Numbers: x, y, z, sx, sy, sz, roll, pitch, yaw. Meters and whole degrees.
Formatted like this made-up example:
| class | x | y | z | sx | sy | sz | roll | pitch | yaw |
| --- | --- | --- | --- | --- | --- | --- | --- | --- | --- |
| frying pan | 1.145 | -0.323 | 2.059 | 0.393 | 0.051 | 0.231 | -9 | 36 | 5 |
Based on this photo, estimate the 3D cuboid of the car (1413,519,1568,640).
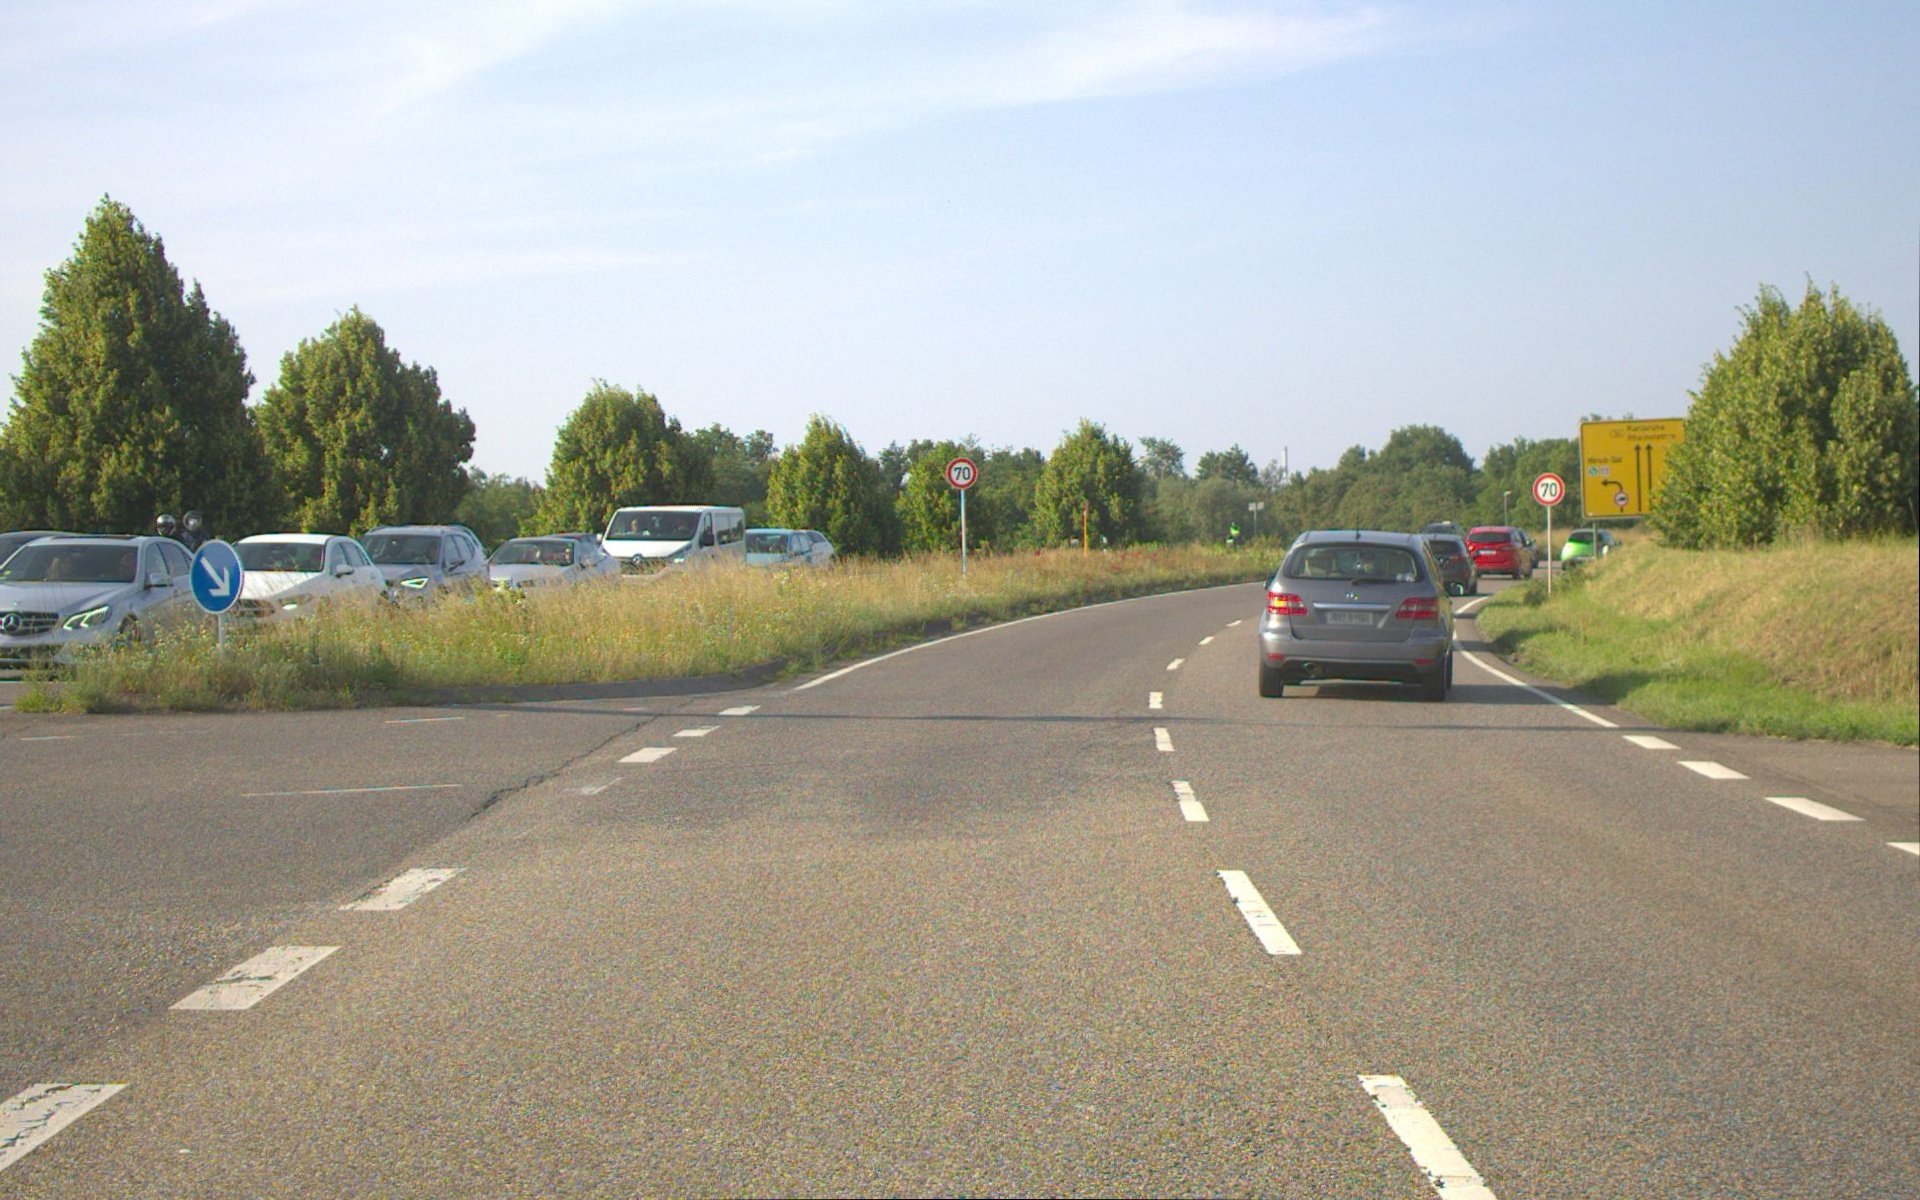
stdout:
| class | x | y | z | sx | sy | sz | roll | pitch | yaw |
| --- | --- | --- | --- | --- | --- | --- | --- | --- | --- |
| car | 7.259 | -0.299 | 46.749 | 1.811 | 1.560 | 4.528 | 0 | 1 | 12 |

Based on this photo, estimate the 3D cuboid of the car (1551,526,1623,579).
| class | x | y | z | sx | sy | sz | roll | pitch | yaw |
| --- | --- | --- | --- | --- | --- | --- | --- | --- | --- |
| car | 22.281 | -1.662 | 122.053 | 1.910 | 1.794 | 4.274 | 0 | 0 | 18 |

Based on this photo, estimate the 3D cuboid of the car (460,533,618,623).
| class | x | y | z | sx | sy | sz | roll | pitch | yaw |
| --- | --- | --- | --- | --- | --- | --- | --- | --- | --- |
| car | -6.765 | -0.377 | 55.613 | 1.786 | 1.381 | 4.051 | -1 | 1 | 4 |

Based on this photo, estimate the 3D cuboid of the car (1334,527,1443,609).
| class | x | y | z | sx | sy | sz | roll | pitch | yaw |
| --- | --- | --- | --- | --- | --- | --- | --- | --- | --- |
| car | 8.035 | -0.620 | 64.261 | 1.773 | 1.487 | 3.983 | 0 | 1 | 11 |

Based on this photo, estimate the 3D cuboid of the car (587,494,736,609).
| class | x | y | z | sx | sy | sz | roll | pitch | yaw |
| --- | --- | --- | --- | --- | --- | --- | --- | --- | --- |
| car | -5.596 | -0.923 | 65.011 | 1.926 | 2.071 | 4.242 | -1 | 1 | 7 |

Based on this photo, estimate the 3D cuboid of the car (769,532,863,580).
| class | x | y | z | sx | sy | sz | roll | pitch | yaw |
| --- | --- | --- | --- | --- | --- | --- | --- | --- | --- |
| car | -4.334 | -1.343 | 104.099 | 1.787 | 1.381 | 4.049 | 0 | 1 | 13 |

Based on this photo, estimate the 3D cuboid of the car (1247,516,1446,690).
| class | x | y | z | sx | sy | sz | roll | pitch | yaw |
| --- | --- | --- | --- | --- | --- | --- | --- | --- | --- |
| car | 3.734 | 0.039 | 33.781 | 1.784 | 1.600 | 4.195 | 0 | 0 | 4 |

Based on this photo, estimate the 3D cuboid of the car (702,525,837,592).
| class | x | y | z | sx | sy | sz | roll | pitch | yaw |
| --- | --- | --- | --- | --- | --- | --- | --- | --- | --- |
| car | -4.021 | -0.896 | 73.188 | 1.787 | 1.381 | 4.049 | 0 | 1 | 13 |

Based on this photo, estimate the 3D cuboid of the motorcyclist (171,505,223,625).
| class | x | y | z | sx | sy | sz | roll | pitch | yaw |
| --- | --- | --- | --- | --- | --- | --- | --- | --- | --- |
| motorcyclist | -11.623 | -0.541 | 52.374 | 0.662 | 1.810 | 0.605 | -1 | 1 | -3 |

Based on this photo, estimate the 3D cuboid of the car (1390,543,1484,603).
| class | x | y | z | sx | sy | sz | roll | pitch | yaw |
| --- | --- | --- | --- | --- | --- | --- | --- | --- | --- |
| car | 11.490 | -0.634 | 82.651 | 1.916 | 1.411 | 3.793 | 0 | 0 | 13 |

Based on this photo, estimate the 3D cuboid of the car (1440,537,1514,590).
| class | x | y | z | sx | sy | sz | roll | pitch | yaw |
| --- | --- | --- | --- | --- | --- | --- | --- | --- | --- |
| car | 15.742 | -1.097 | 104.483 | 1.896 | 1.559 | 4.275 | 0 | 0 | 13 |

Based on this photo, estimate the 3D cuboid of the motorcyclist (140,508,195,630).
| class | x | y | z | sx | sy | sz | roll | pitch | yaw |
| --- | --- | --- | --- | --- | --- | --- | --- | --- | --- |
| motorcyclist | -11.347 | -0.446 | 49.237 | 0.662 | 1.741 | 0.605 | -1 | 1 | -3 |

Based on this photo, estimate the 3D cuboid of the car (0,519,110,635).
| class | x | y | z | sx | sy | sz | roll | pitch | yaw |
| --- | --- | --- | --- | --- | --- | --- | --- | --- | --- |
| car | -12.487 | -0.311 | 44.353 | 1.786 | 1.428 | 4.051 | -1 | 1 | 4 |

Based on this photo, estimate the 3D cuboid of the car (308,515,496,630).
| class | x | y | z | sx | sy | sz | roll | pitch | yaw |
| --- | --- | --- | --- | --- | --- | --- | --- | --- | --- |
| car | -7.978 | -0.413 | 49.509 | 1.786 | 1.563 | 4.051 | -1 | 1 | 4 |

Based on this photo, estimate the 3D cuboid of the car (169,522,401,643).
| class | x | y | z | sx | sy | sz | roll | pitch | yaw |
| --- | --- | --- | --- | --- | --- | --- | --- | --- | --- |
| car | -8.418 | -0.250 | 43.235 | 1.786 | 1.428 | 4.308 | -1 | 1 | 4 |

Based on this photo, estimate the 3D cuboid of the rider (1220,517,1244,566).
| class | x | y | z | sx | sy | sz | roll | pitch | yaw |
| --- | --- | --- | --- | --- | --- | --- | --- | --- | --- |
| rider | 11.304 | -2.429 | 142.849 | 0.868 | 2.007 | 0.771 | 0 | 1 | 15 |

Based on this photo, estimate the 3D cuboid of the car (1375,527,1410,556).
| class | x | y | z | sx | sy | sz | roll | pitch | yaw |
| --- | --- | --- | --- | --- | --- | --- | --- | --- | --- |
| car | 21.651 | -2.937 | 171.902 | 1.406 | 1.397 | 3.420 | 0 | 1 | 13 |

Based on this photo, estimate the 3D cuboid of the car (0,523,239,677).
| class | x | y | z | sx | sy | sz | roll | pitch | yaw |
| --- | --- | --- | --- | --- | --- | --- | --- | --- | --- |
| car | -8.980 | -0.036 | 35.515 | 1.786 | 1.483 | 4.651 | -1 | 1 | 4 |
